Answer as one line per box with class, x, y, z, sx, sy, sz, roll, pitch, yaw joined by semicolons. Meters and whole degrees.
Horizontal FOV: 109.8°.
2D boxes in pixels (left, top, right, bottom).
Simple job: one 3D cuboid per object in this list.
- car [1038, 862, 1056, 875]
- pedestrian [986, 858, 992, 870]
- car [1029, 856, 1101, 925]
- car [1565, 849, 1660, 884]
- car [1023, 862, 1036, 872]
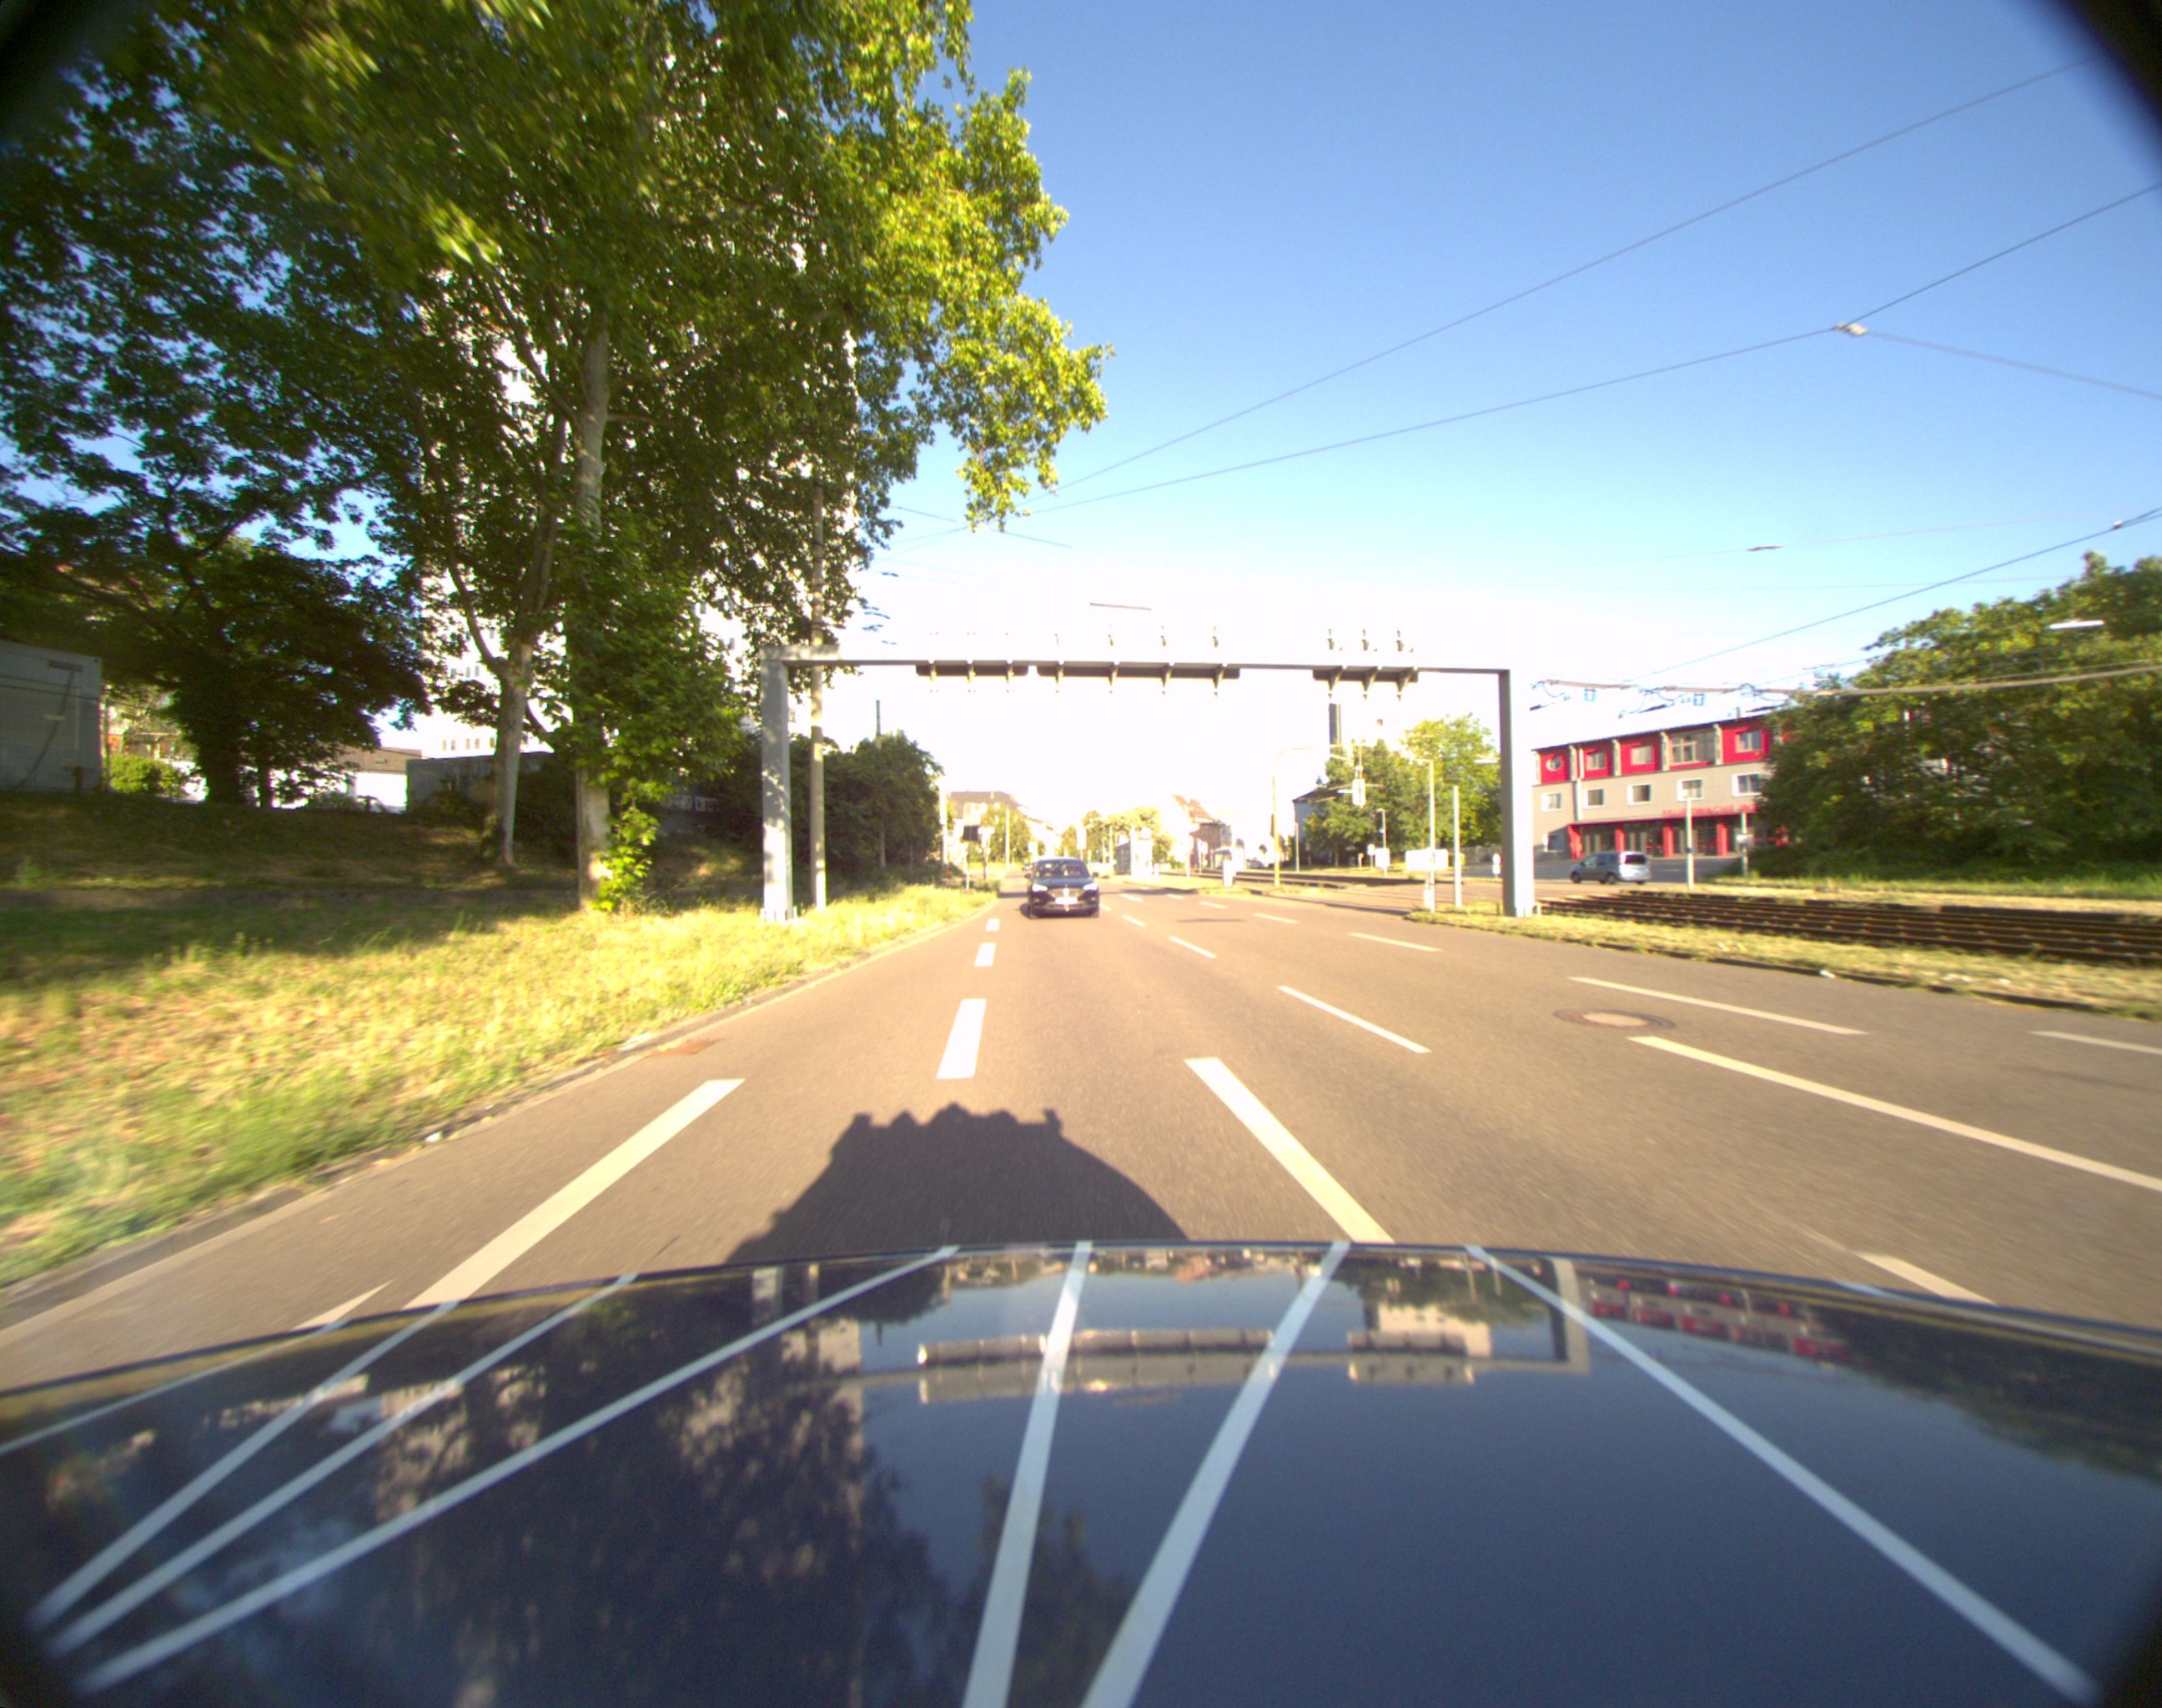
car;-4.367;1.851;98.008;1.907;1.652;4.273;-1;0;-8
pedestrian;-12.007;1.333;99.180;0.592;1.586;0.547;0;0;31
car;-0.551;0.927;21.590;1.819;1.670;4.621;-1;0;-4
car;28.409;0.691;40.771;1.939;1.776;4.258;-1;-1;-3
car;-7.654;1.883;112.378;1.742;1.429;3.998;-1;-1;-6
